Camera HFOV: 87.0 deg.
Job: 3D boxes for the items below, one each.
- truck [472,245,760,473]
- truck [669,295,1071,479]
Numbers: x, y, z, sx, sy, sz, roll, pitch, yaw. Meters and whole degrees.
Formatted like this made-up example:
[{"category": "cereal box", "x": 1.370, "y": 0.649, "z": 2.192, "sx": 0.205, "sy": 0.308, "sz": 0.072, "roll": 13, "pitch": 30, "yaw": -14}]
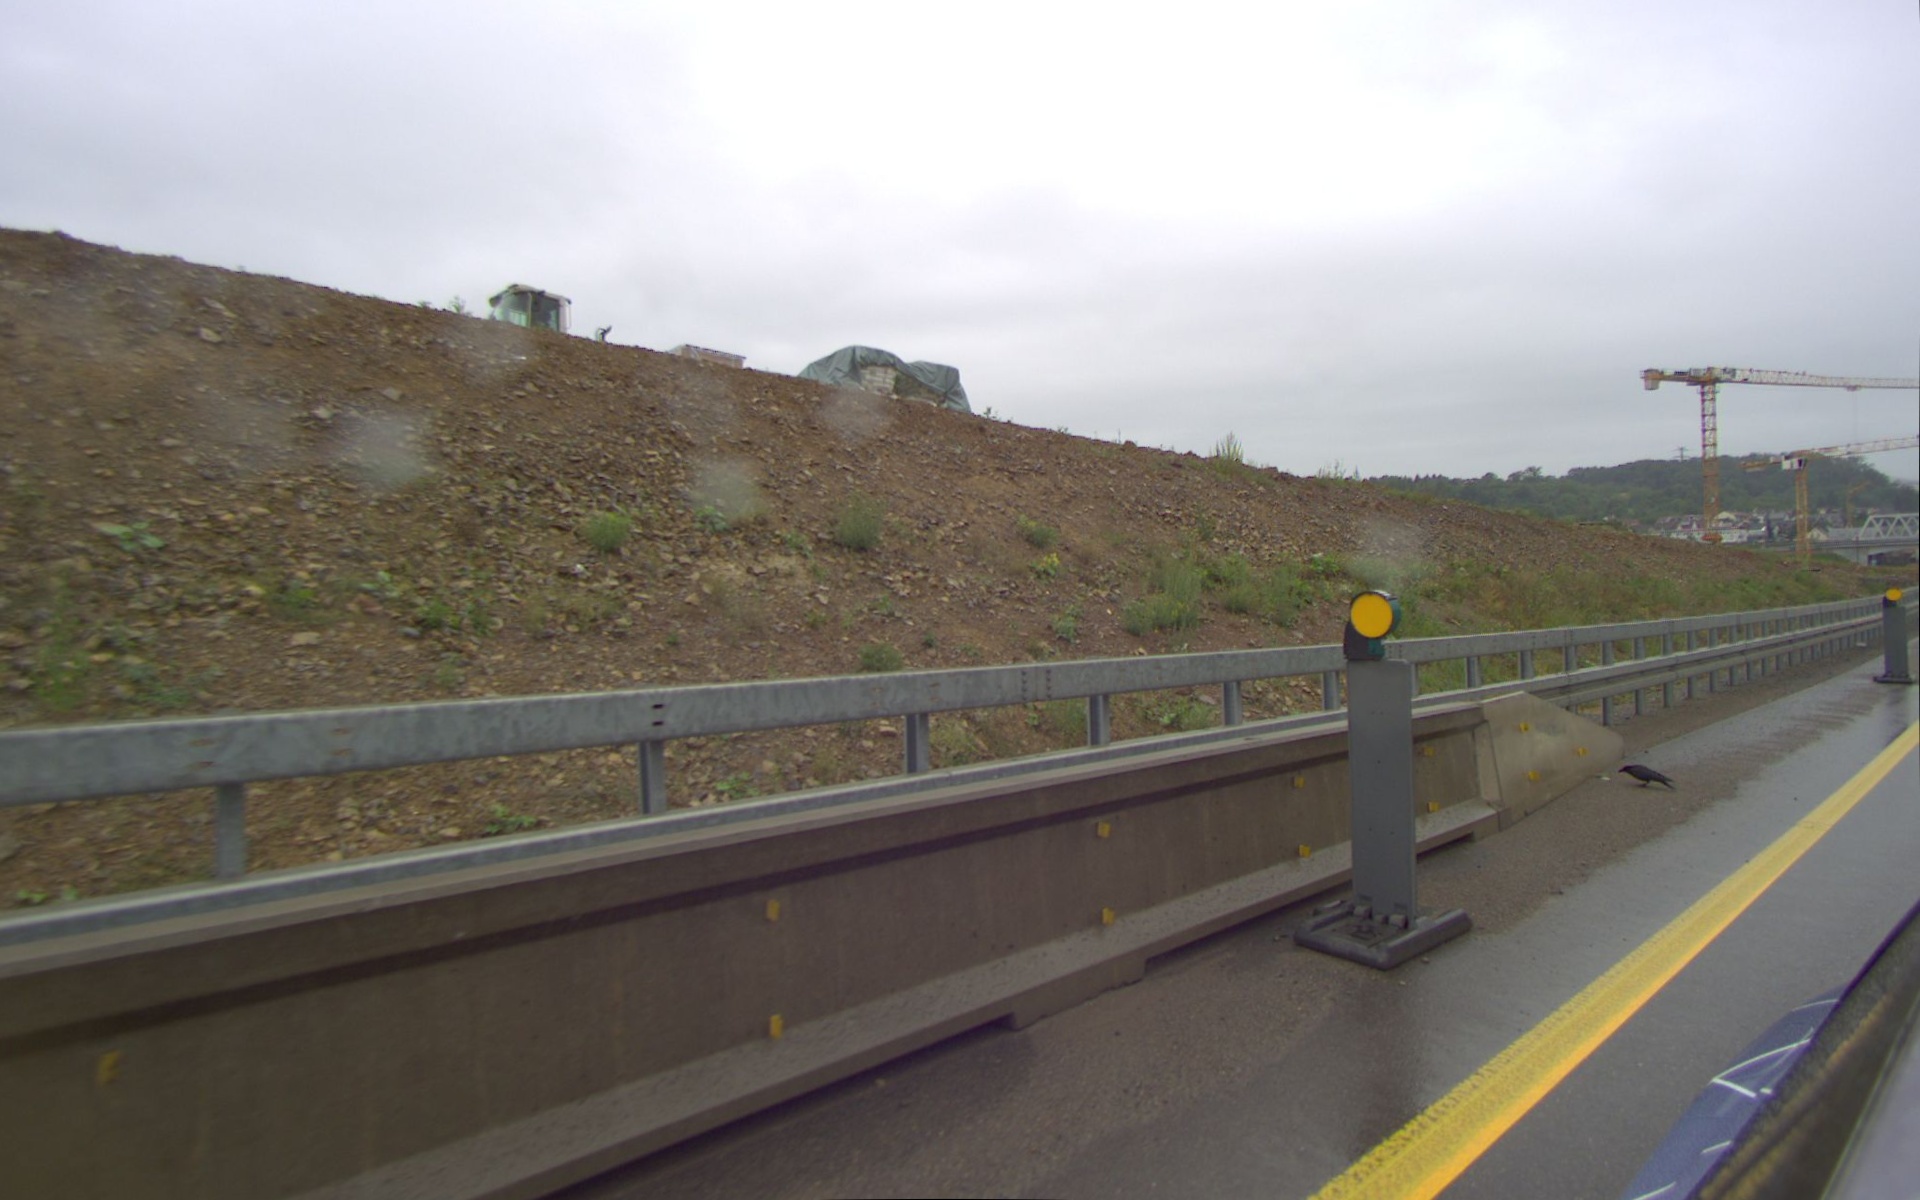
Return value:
[{"category": "truck", "x": -7.947, "y": -5.348, "z": 23.852, "sx": 5.878, "sy": 4.270, "sz": 2.377, "roll": -3, "pitch": 2, "yaw": -42}, {"category": "truck", "x": -1.778, "y": -4.525, "z": 23.276, "sx": 8.801, "sy": 2.910, "sz": 3.403, "roll": -3, "pitch": 3, "yaw": -39}]
